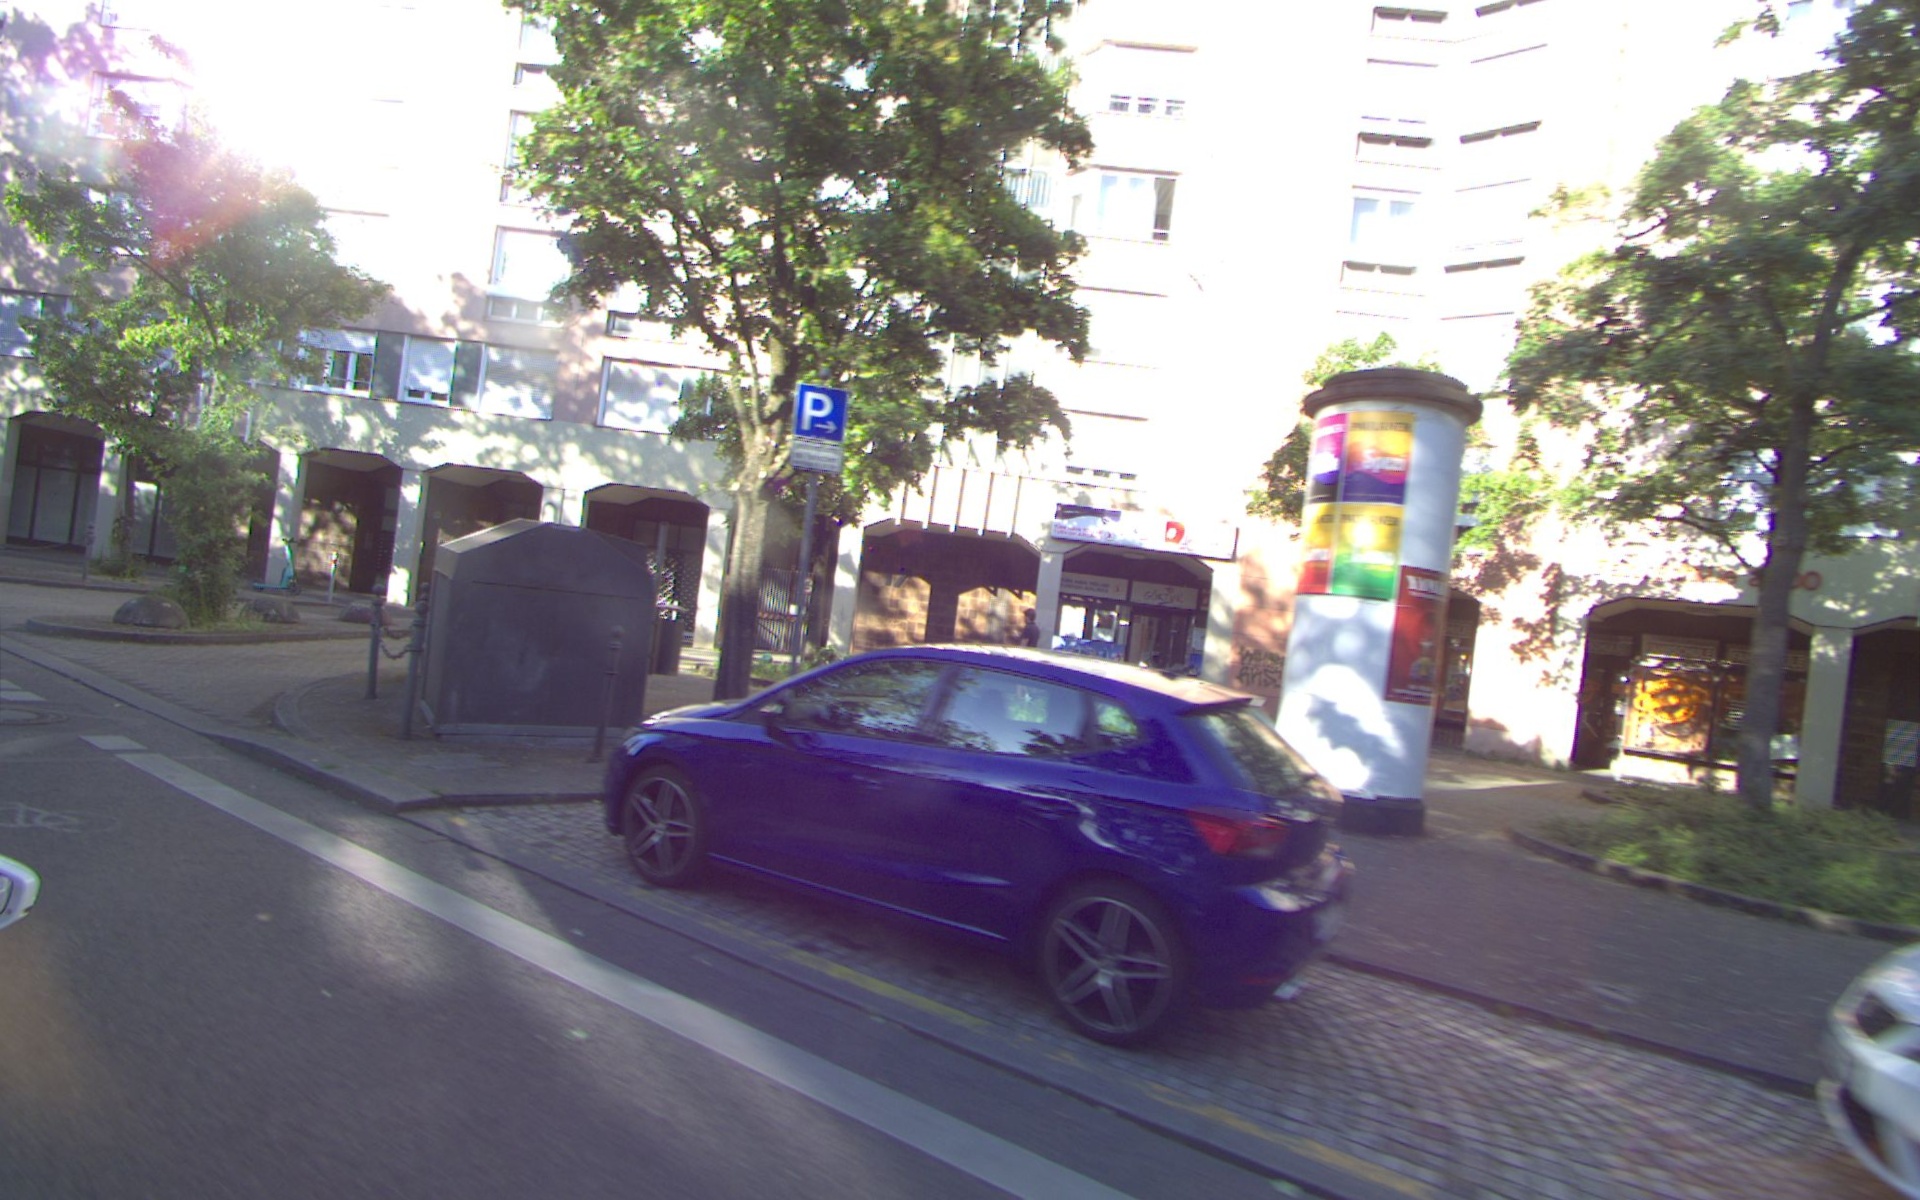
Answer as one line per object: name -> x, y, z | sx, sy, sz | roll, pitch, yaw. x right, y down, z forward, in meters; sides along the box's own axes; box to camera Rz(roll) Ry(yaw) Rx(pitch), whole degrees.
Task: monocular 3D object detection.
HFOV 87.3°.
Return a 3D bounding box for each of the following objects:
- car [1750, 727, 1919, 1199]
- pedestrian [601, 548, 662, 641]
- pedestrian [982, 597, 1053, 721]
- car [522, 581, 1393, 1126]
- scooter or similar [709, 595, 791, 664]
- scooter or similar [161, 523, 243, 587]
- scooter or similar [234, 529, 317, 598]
car -> 4.661, 1.413, 2.356 | 4.106, 1.483, 1.704 | 7, 0, 32
pedestrian -> -7.555, -0.134, 23.141 | 0.837, 2.005, 0.814 | 7, 0, 44
pedestrian -> 0.984, 1.007, 17.291 | 0.637, 2.005, 0.766 | 7, 0, -44
car -> -0.172, 0.914, 5.282 | 4.177, 1.502, 1.704 | 7, 0, 31
scooter or similar -> -4.017, 0.579, 19.326 | 0.550, 1.159, 1.456 | 7, -1, 34
scooter or similar -> -16.871, -0.998, 22.394 | 1.423, 1.231, 0.486 | 7, 0, 9
scooter or similar -> -14.789, -0.780, 21.744 | 1.423, 1.289, 0.486 | 7, 0, 9
